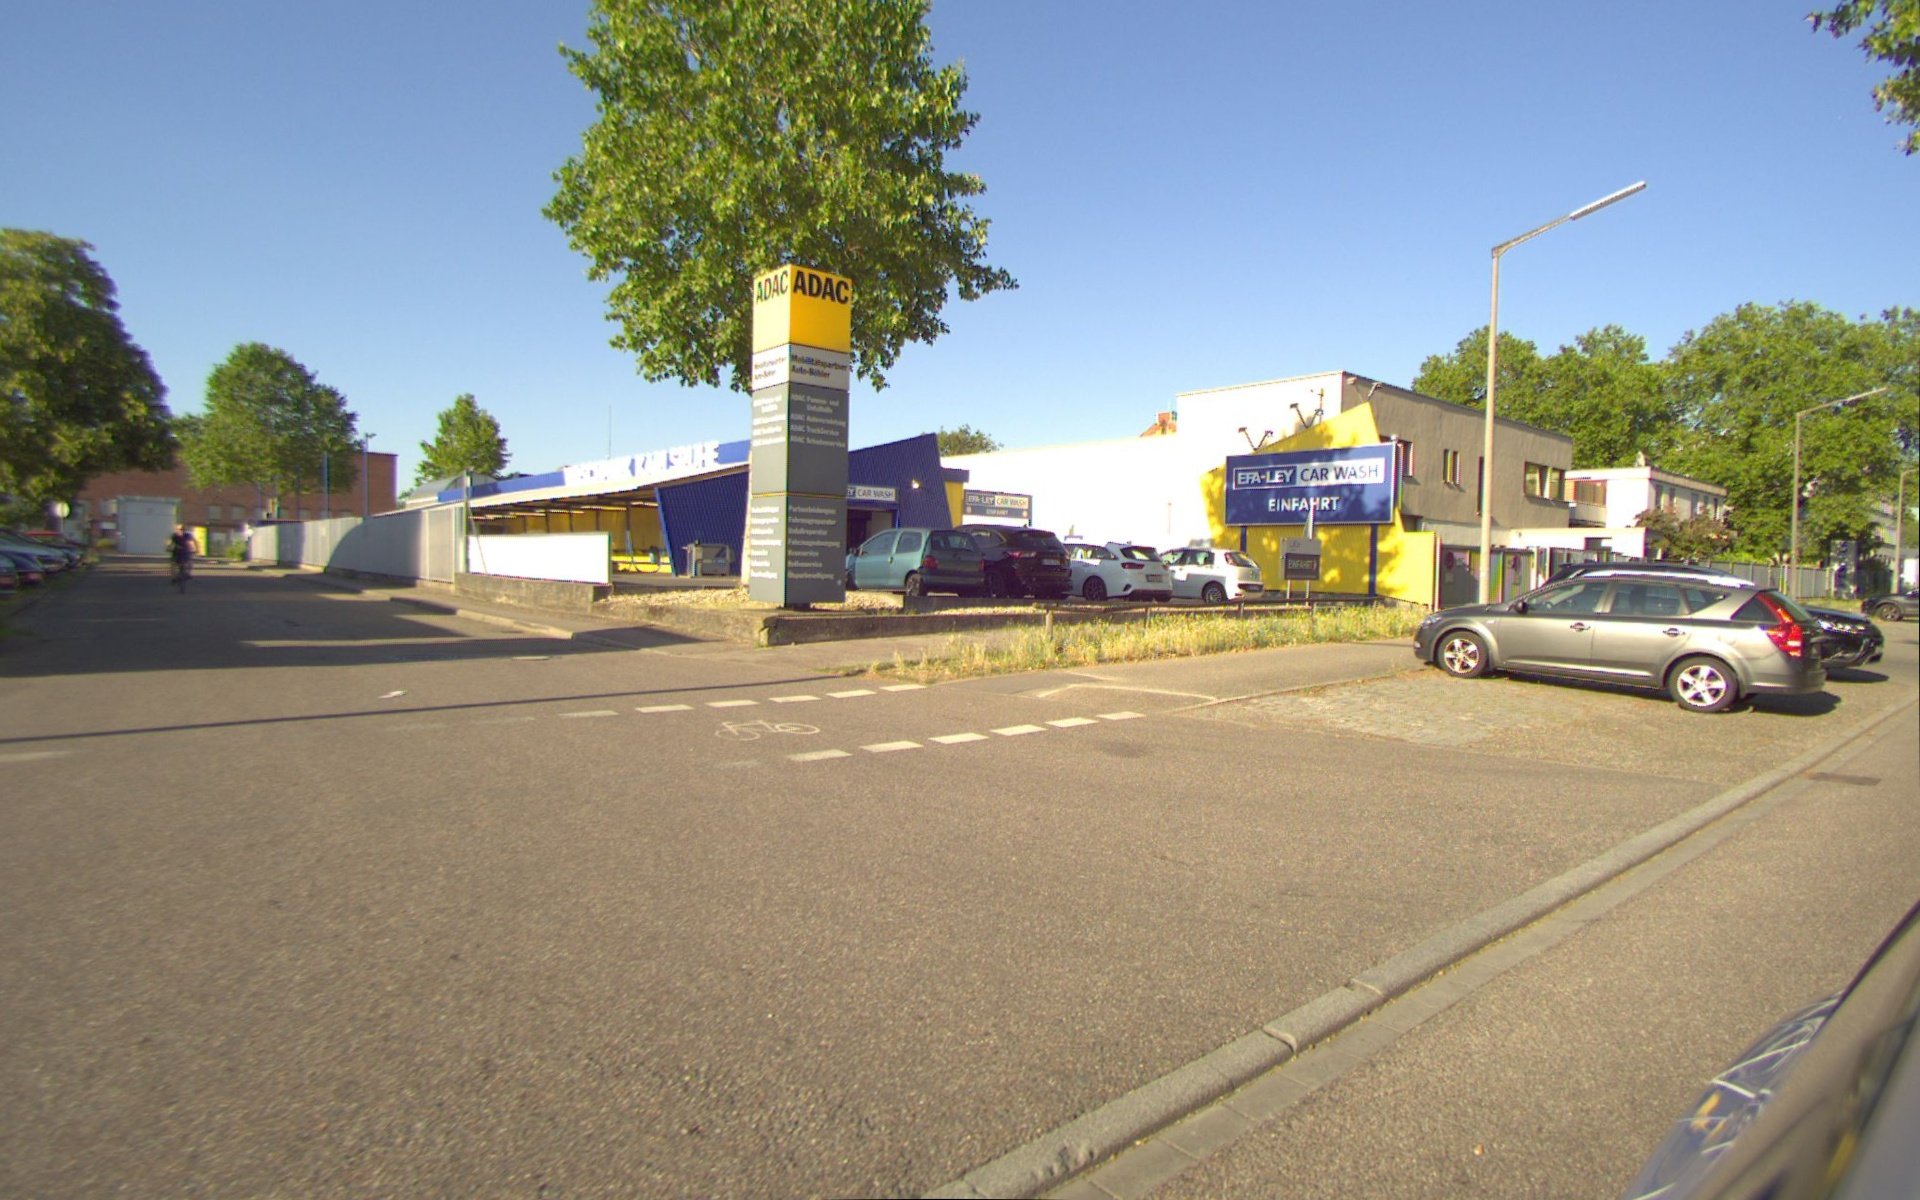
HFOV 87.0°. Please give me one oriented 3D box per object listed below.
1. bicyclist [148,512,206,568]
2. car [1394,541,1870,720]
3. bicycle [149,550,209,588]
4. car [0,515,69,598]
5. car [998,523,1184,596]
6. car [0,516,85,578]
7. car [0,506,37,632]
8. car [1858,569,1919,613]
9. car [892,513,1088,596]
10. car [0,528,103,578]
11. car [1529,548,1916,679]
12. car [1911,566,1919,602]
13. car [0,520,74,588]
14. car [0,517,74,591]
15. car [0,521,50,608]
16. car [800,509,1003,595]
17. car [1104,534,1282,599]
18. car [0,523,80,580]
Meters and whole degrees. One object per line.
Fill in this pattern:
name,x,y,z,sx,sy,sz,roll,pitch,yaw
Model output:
bicyclist,-20.648,-1.566,26.682,1.151,1.425,1.159,-1,1,-40
car,8.277,0.196,12.881,1.965,1.632,4.613,-1,6,-40
bicycle,-20.598,-0.798,26.649,1.187,0.933,3.305,-1,2,-39
car,-22.515,-0.934,22.278,3.919,1.759,2.003,0,1,-7
car,2.985,-0.907,23.523,1.921,1.538,3.990,-1,2,-44
car,-28.551,-1.532,29.658,3.916,1.759,2.004,-1,1,-14
car,-15.406,-0.420,13.929,3.935,1.759,1.995,0,1,10
car,37.919,-0.257,39.012,1.966,1.544,4.635,-1,6,-41
car,0.579,-0.935,21.735,1.967,1.615,3.990,-1,2,-44
car,-33.843,-1.688,36.532,3.916,1.759,2.004,-1,1,-14
car,12.228,0.075,16.553,1.964,1.598,4.617,-1,6,-38
car,48.268,-0.583,47.771,1.966,1.732,4.635,-1,6,-41
car,-26.564,-1.206,26.994,3.916,1.759,2.004,-1,1,-14
car,-24.736,-1.110,24.916,3.916,1.759,2.004,-1,1,-14
car,-20.203,-0.675,19.627,3.364,1.653,1.741,-1,1,-12
car,-1.242,-0.919,20.279,1.967,1.538,3.990,-1,2,-44
car,5.841,-0.823,25.654,1.967,1.515,3.990,-1,2,-44
car,-30.595,-1.499,31.839,3.916,1.759,2.004,-1,1,-14
